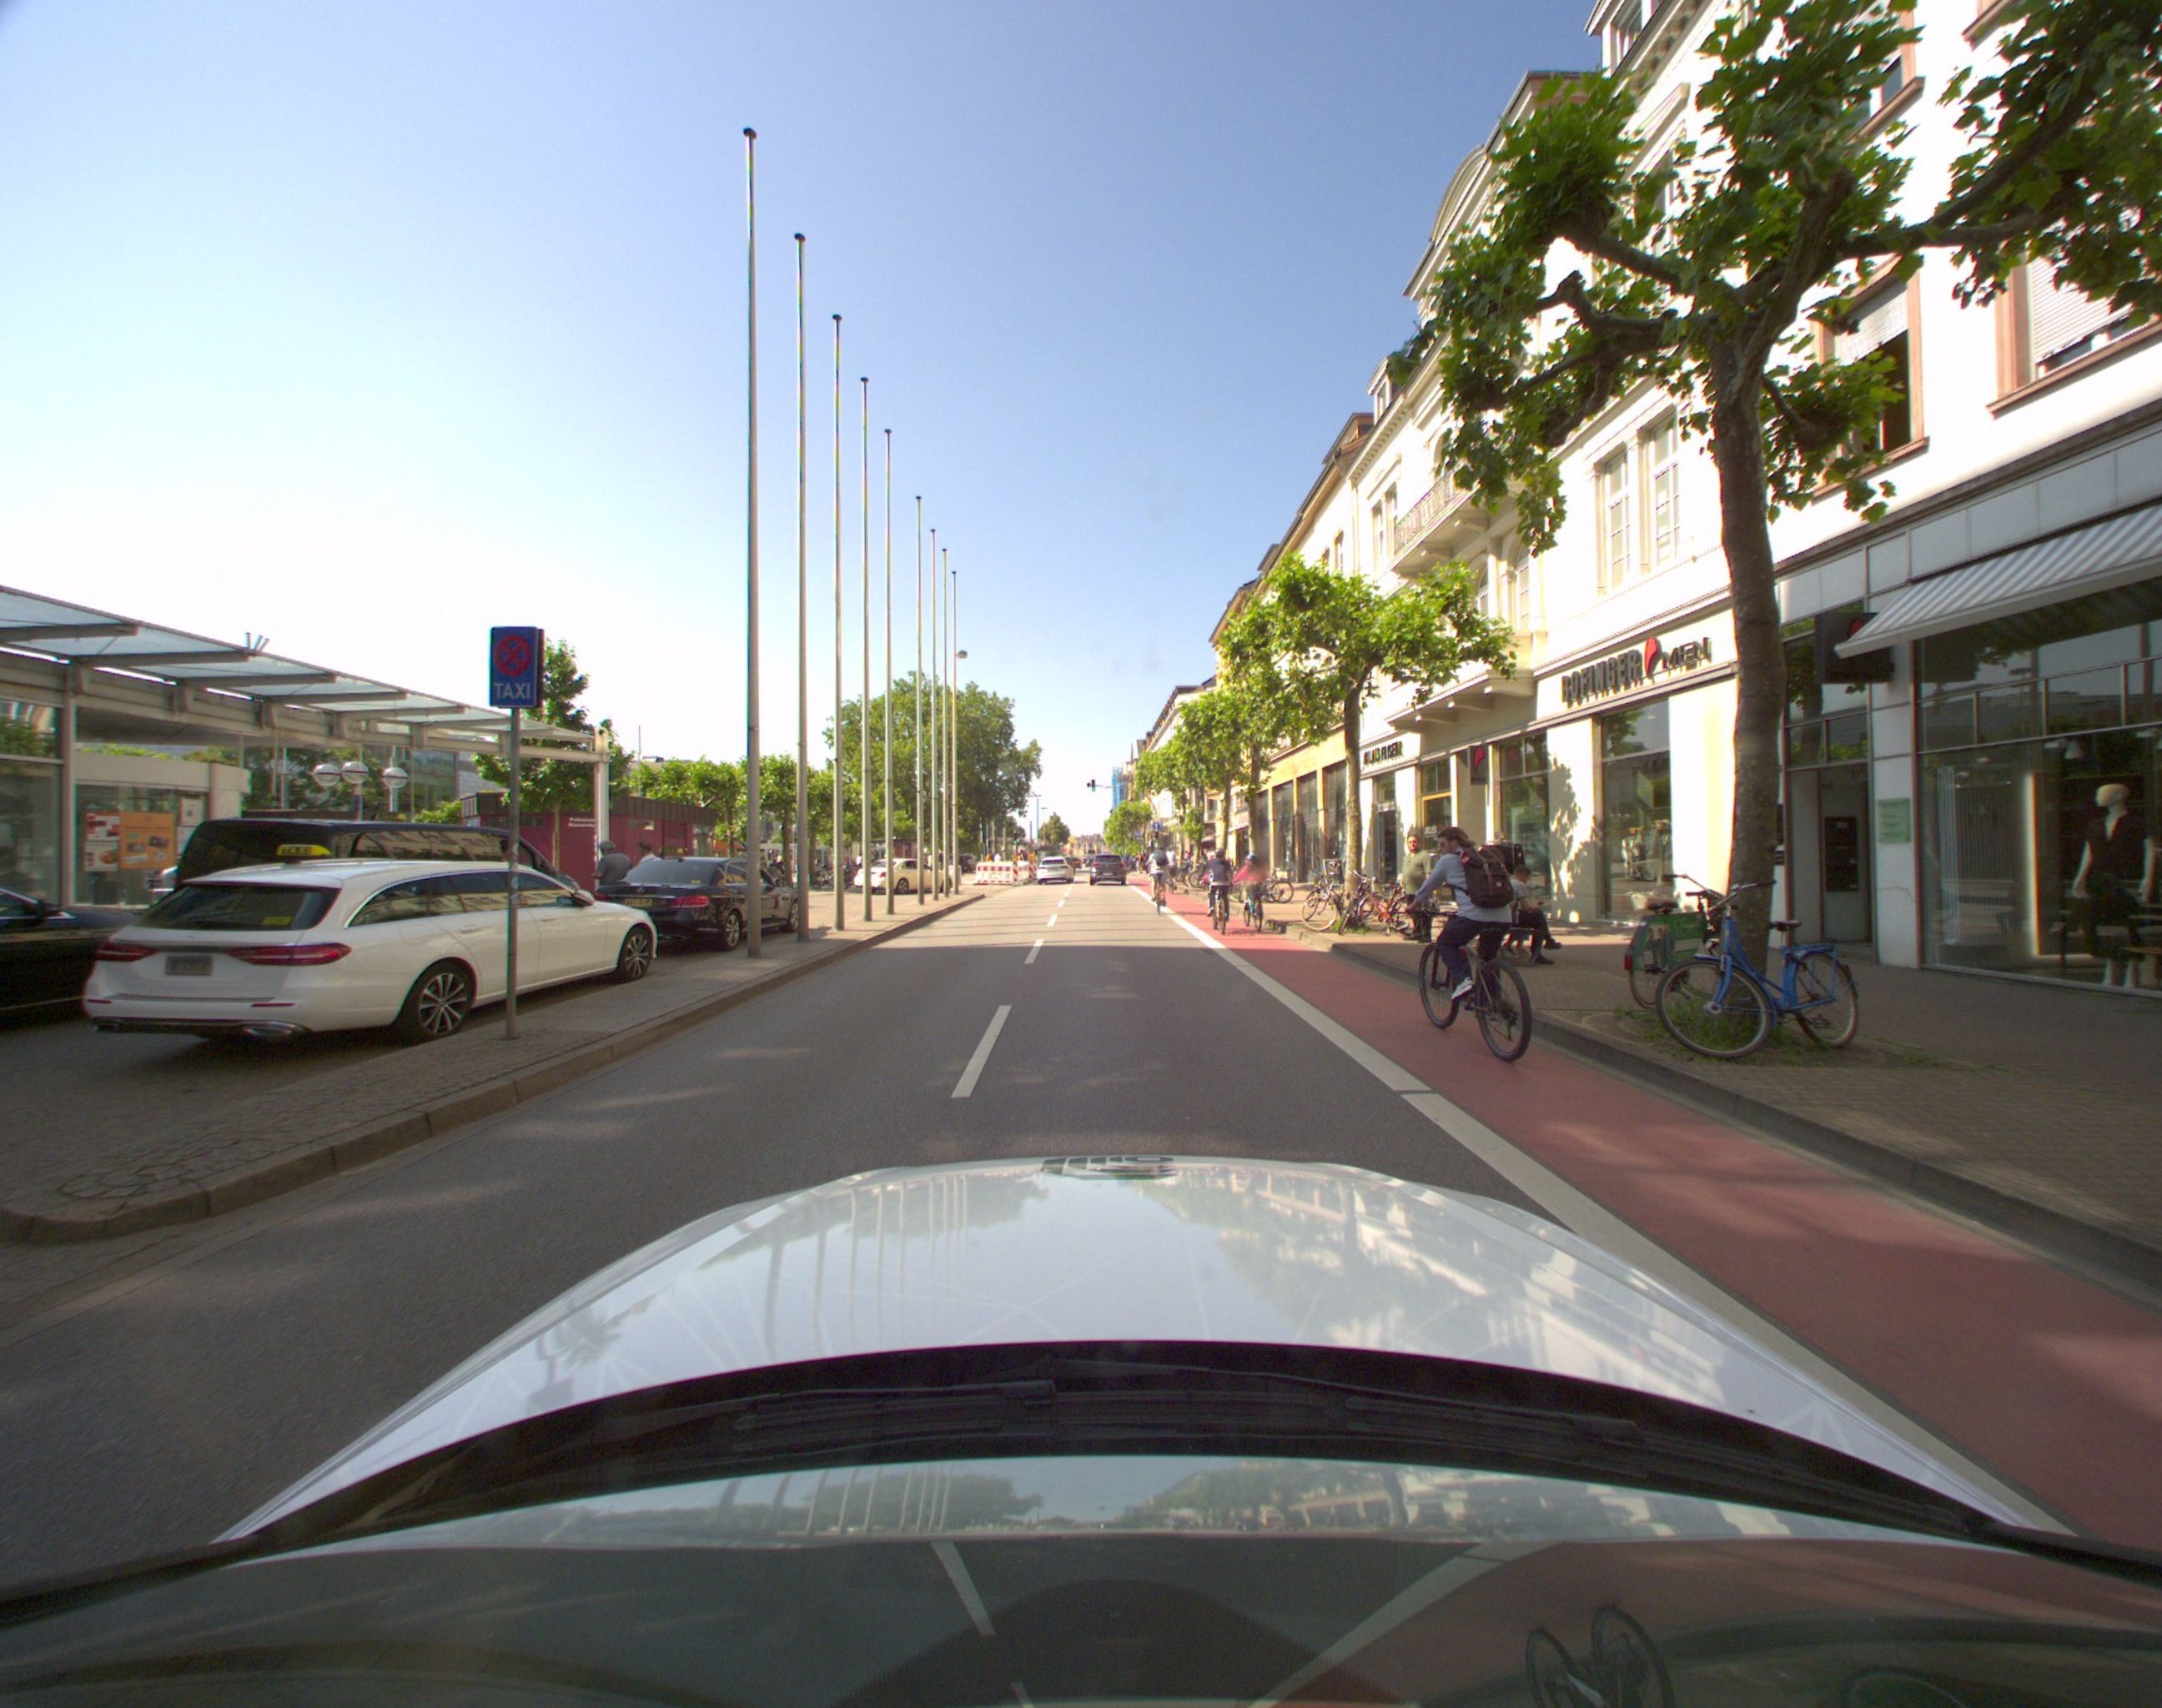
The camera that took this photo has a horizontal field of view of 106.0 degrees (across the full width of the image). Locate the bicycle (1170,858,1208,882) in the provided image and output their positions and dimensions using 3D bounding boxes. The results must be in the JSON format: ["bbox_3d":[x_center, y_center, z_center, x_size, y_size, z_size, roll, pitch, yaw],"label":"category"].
[{"bbox_3d":[5.375,0.802,40.608,1.836,1.201,0.545,0,0,2],"label":"bicycle"}]

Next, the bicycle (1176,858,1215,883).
[{"bbox_3d":[5.604,0.799,39.803,1.836,1.201,0.474,0,0,2],"label":"bicycle"}]

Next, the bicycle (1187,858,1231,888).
[{"bbox_3d":[5.253,0.765,33.442,1.721,1.217,0.478,0,0,2],"label":"bicycle"}]

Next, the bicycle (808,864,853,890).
[{"bbox_3d":[-10.945,1.019,35.644,1.777,1.105,0.562,0,0,-3],"label":"bicycle"}]

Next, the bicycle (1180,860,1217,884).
[{"bbox_3d":[5.465,0.847,37.866,1.642,1.095,0.607,0,0,2],"label":"bicycle"}]

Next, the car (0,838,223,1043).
[{"bbox_3d":[-9.435,0.669,5.866,1.990,1.610,4.394,0,0,-4],"label":"car"}]

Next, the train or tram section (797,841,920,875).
[{"bbox_3d":[-25.397,0.411,94.352,2.587,3.677,15.647,-1,0,35],"label":"train or tram section"}]

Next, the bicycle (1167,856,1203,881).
[{"bbox_3d":[5.731,0.789,44.930,1.827,1.309,0.684,0,0,-20],"label":"bicycle"}]

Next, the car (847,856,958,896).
[{"bbox_3d":[-7.416,0.886,34.362,1.873,1.542,4.891,0,0,28],"label":"car"}]

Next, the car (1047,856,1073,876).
[{"bbox_3d":[-1.555,0.873,61.149,1.840,1.449,3.999,-2,0,0],"label":"car"}]

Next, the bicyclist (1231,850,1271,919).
[{"bbox_3d":[3.435,0.608,16.525,0.598,1.358,0.720,-1,-1,-3],"label":"bicyclist"}]

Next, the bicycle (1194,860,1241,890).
[{"bbox_3d":[5.257,0.797,31.395,1.721,1.109,0.736,0,0,2],"label":"bicycle"}]

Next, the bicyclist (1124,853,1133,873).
[{"bbox_3d":[3.737,0.710,63.926,0.645,1.551,0.817,-1,-1,0],"label":"bicyclist"}]

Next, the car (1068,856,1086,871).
[{"bbox_3d":[-0.427,1.009,86.779,1.840,1.560,3.999,-1,0,0],"label":"car"}]

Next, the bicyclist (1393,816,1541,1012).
[{"bbox_3d":[3.053,0.451,6.523,0.697,1.446,0.960,1,-1,-3],"label":"bicyclist"}]

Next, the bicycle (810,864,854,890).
[{"bbox_3d":[-11.093,1.023,36.332,1.777,1.132,0.562,0,0,-3],"label":"bicycle"}]

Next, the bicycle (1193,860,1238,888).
[{"bbox_3d":[5.316,0.790,32.248,1.721,1.109,0.402,0,-1,2],"label":"bicycle"}]

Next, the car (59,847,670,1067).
[{"bbox_3d":[-6.177,0.698,8.033,1.793,1.523,4.739,0,0,0],"label":"car"}]

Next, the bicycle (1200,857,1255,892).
[{"bbox_3d":[5.377,0.745,29.914,1.924,1.248,0.736,0,0,2],"label":"bicycle"}]

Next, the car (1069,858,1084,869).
[{"bbox_3d":[-0.534,1.208,104.490,1.840,1.413,3.999,-1,0,0],"label":"car"}]

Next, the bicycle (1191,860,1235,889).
[{"bbox_3d":[5.295,0.821,32.662,1.721,1.109,0.402,0,-1,2],"label":"bicycle"}]

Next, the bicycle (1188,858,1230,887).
[{"bbox_3d":[5.442,0.783,34.658,1.721,1.217,0.478,0,0,2],"label":"bicycle"}]

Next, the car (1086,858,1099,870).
[{"bbox_3d":[1.739,1.556,127.353,1.840,1.668,3.996,1,0,-3],"label":"car"}]

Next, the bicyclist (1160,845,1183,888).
[{"bbox_3d":[3.478,0.472,31.379,0.772,1.635,0.851,-1,0,0],"label":"bicyclist"}]

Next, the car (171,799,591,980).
[{"bbox_3d":[-9.268,0.401,11.491,1.826,2.013,4.685,-1,0,1],"label":"car"}]

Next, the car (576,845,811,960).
[{"bbox_3d":[-6.237,0.684,13.830,1.755,1.600,4.708,-1,0,-1],"label":"car"}]

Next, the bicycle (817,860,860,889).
[{"bbox_3d":[-10.976,0.933,36.904,1.777,1.309,0.562,0,0,-3],"label":"bicycle"}]

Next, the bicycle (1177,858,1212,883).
[{"bbox_3d":[5.473,0.797,39.389,1.642,1.201,0.474,0,0,2],"label":"bicycle"}]

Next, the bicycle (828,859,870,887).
[{"bbox_3d":[-10.880,0.890,38.193,1.777,1.309,0.662,0,0,-3],"label":"bicycle"}]

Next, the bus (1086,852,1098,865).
[{"bbox_3d":[3.124,1.246,233.491,2.985,3.594,11.741,-1,-1,0],"label":"bus"}]

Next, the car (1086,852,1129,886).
[{"bbox_3d":[1.270,0.703,40.786,1.841,1.559,3.997,-2,0,-2],"label":"car"}]

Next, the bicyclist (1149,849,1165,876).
[{"bbox_3d":[5.241,0.591,56.213,0.577,1.797,0.848,-3,0,-34],"label":"bicyclist"}]

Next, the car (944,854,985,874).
[{"bbox_3d":[-11.584,0.969,81.291,1.843,1.955,4.785,-1,-1,21],"label":"car"}]

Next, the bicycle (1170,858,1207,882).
[{"bbox_3d":[5.416,0.810,41.114,1.836,1.201,0.609,0,0,2],"label":"bicycle"}]

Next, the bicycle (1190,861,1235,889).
[{"bbox_3d":[5.334,0.838,33.081,1.721,1.109,0.478,0,0,2],"label":"bicycle"}]

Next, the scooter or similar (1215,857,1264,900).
[{"bbox_3d":[4.867,0.735,25.001,1.465,1.274,0.672,1,-1,11],"label":"scooter or similar"}]

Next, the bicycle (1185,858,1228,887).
[{"bbox_3d":[5.252,0.778,34.167,1.721,1.217,0.478,0,0,2],"label":"bicycle"}]

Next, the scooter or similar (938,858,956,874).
[{"bbox_3d":[-11.956,1.101,72.646,1.264,1.421,1.045,-1,-1,31],"label":"scooter or similar"}]

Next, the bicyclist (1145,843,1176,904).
[{"bbox_3d":[1.976,0.478,20.446,0.628,1.481,1.198,-1,-1,0],"label":"bicyclist"}]

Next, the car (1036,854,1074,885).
[{"bbox_3d":[-1.390,0.813,44.339,1.839,1.560,4.000,-2,0,1],"label":"car"}]

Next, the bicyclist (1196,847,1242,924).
[{"bbox_3d":[2.663,0.596,15.768,0.697,1.441,0.790,1,-1,-3],"label":"bicyclist"}]

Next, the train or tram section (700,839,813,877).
[{"bbox_3d":[-33.064,0.410,83.647,2.587,3.677,11.072,-1,0,35],"label":"train or tram section"}]
